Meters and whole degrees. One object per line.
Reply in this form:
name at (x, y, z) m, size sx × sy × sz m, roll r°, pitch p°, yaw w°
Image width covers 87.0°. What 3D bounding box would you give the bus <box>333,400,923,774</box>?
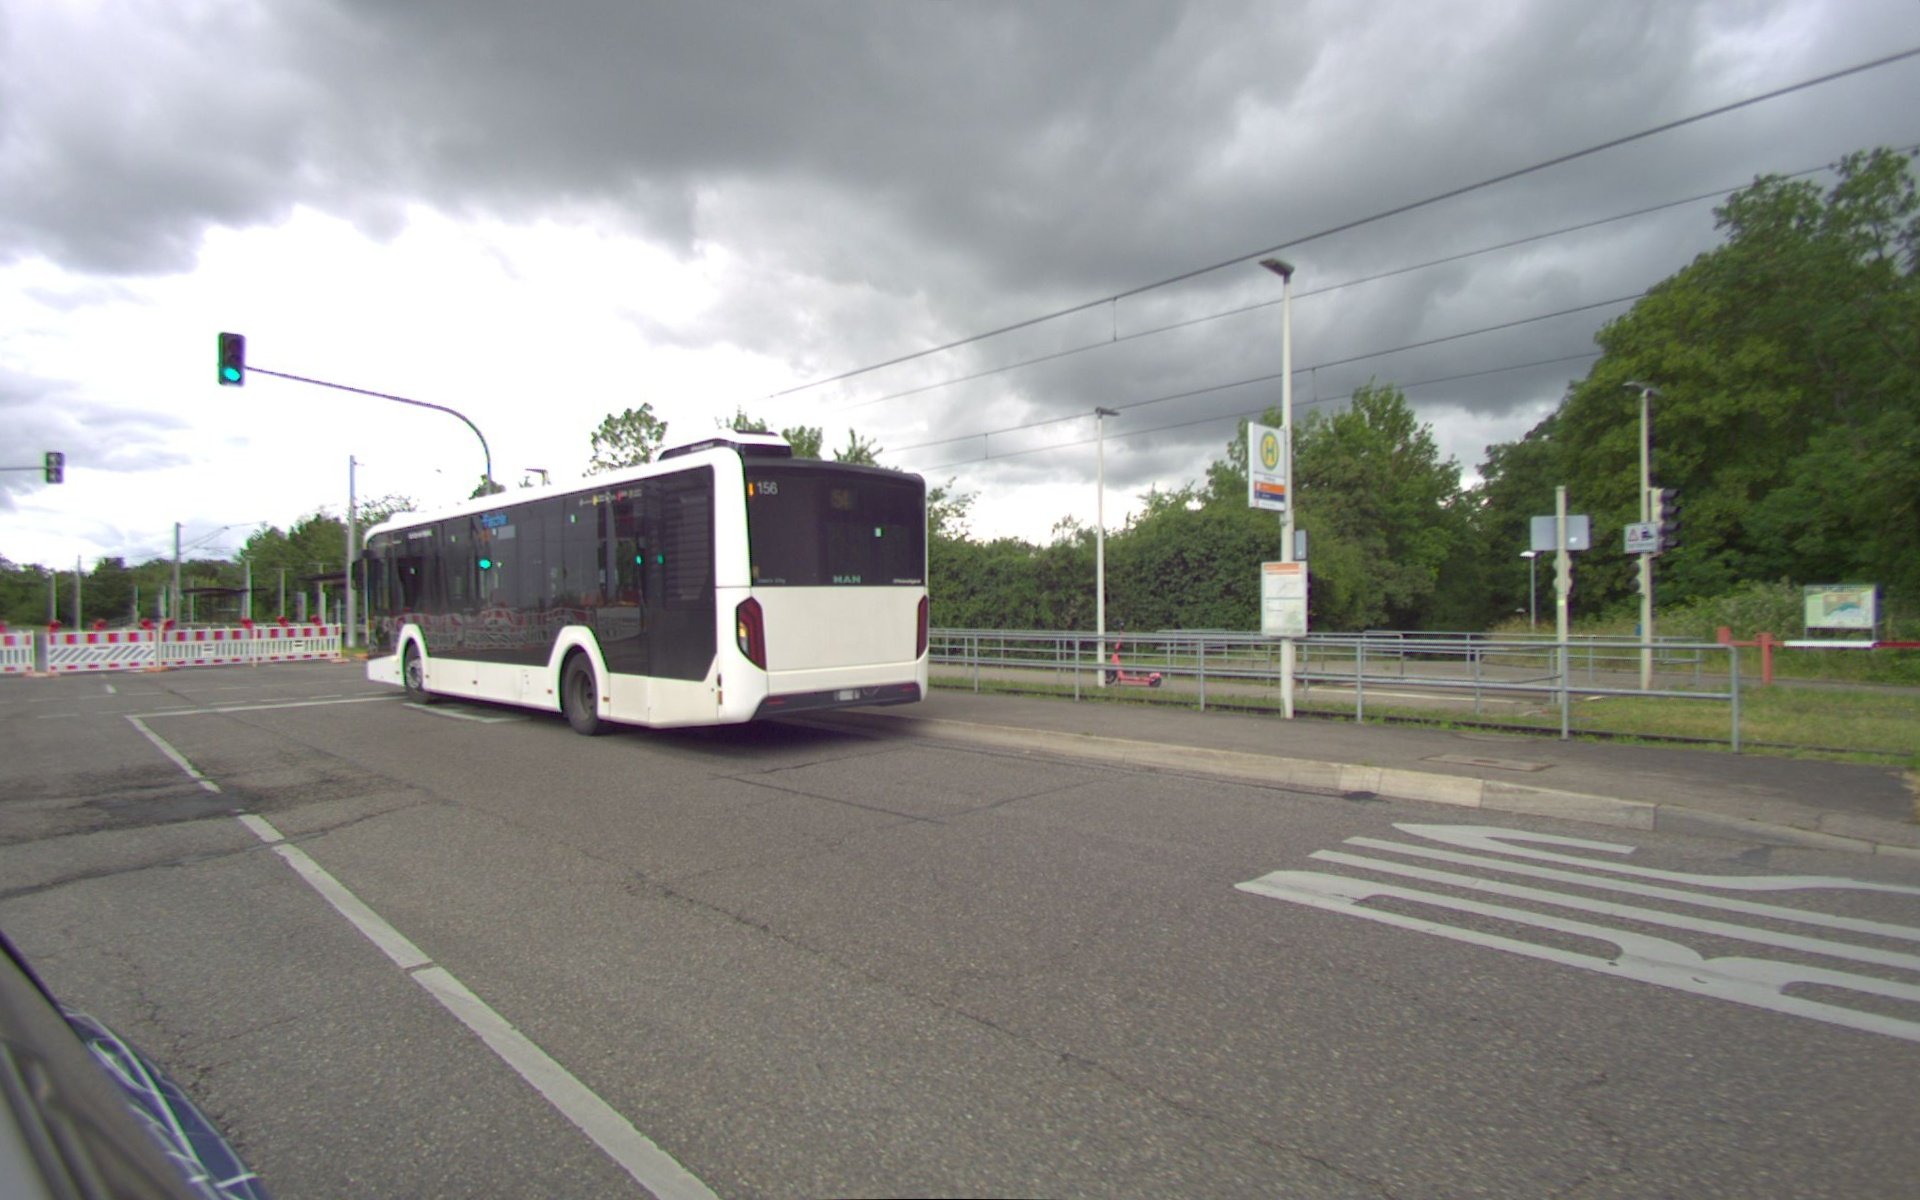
bus at (-5.588, -0.054, 14.015) m, size 2.635 × 3.227 × 12.207 m, roll 1°, pitch -1°, yaw -44°
